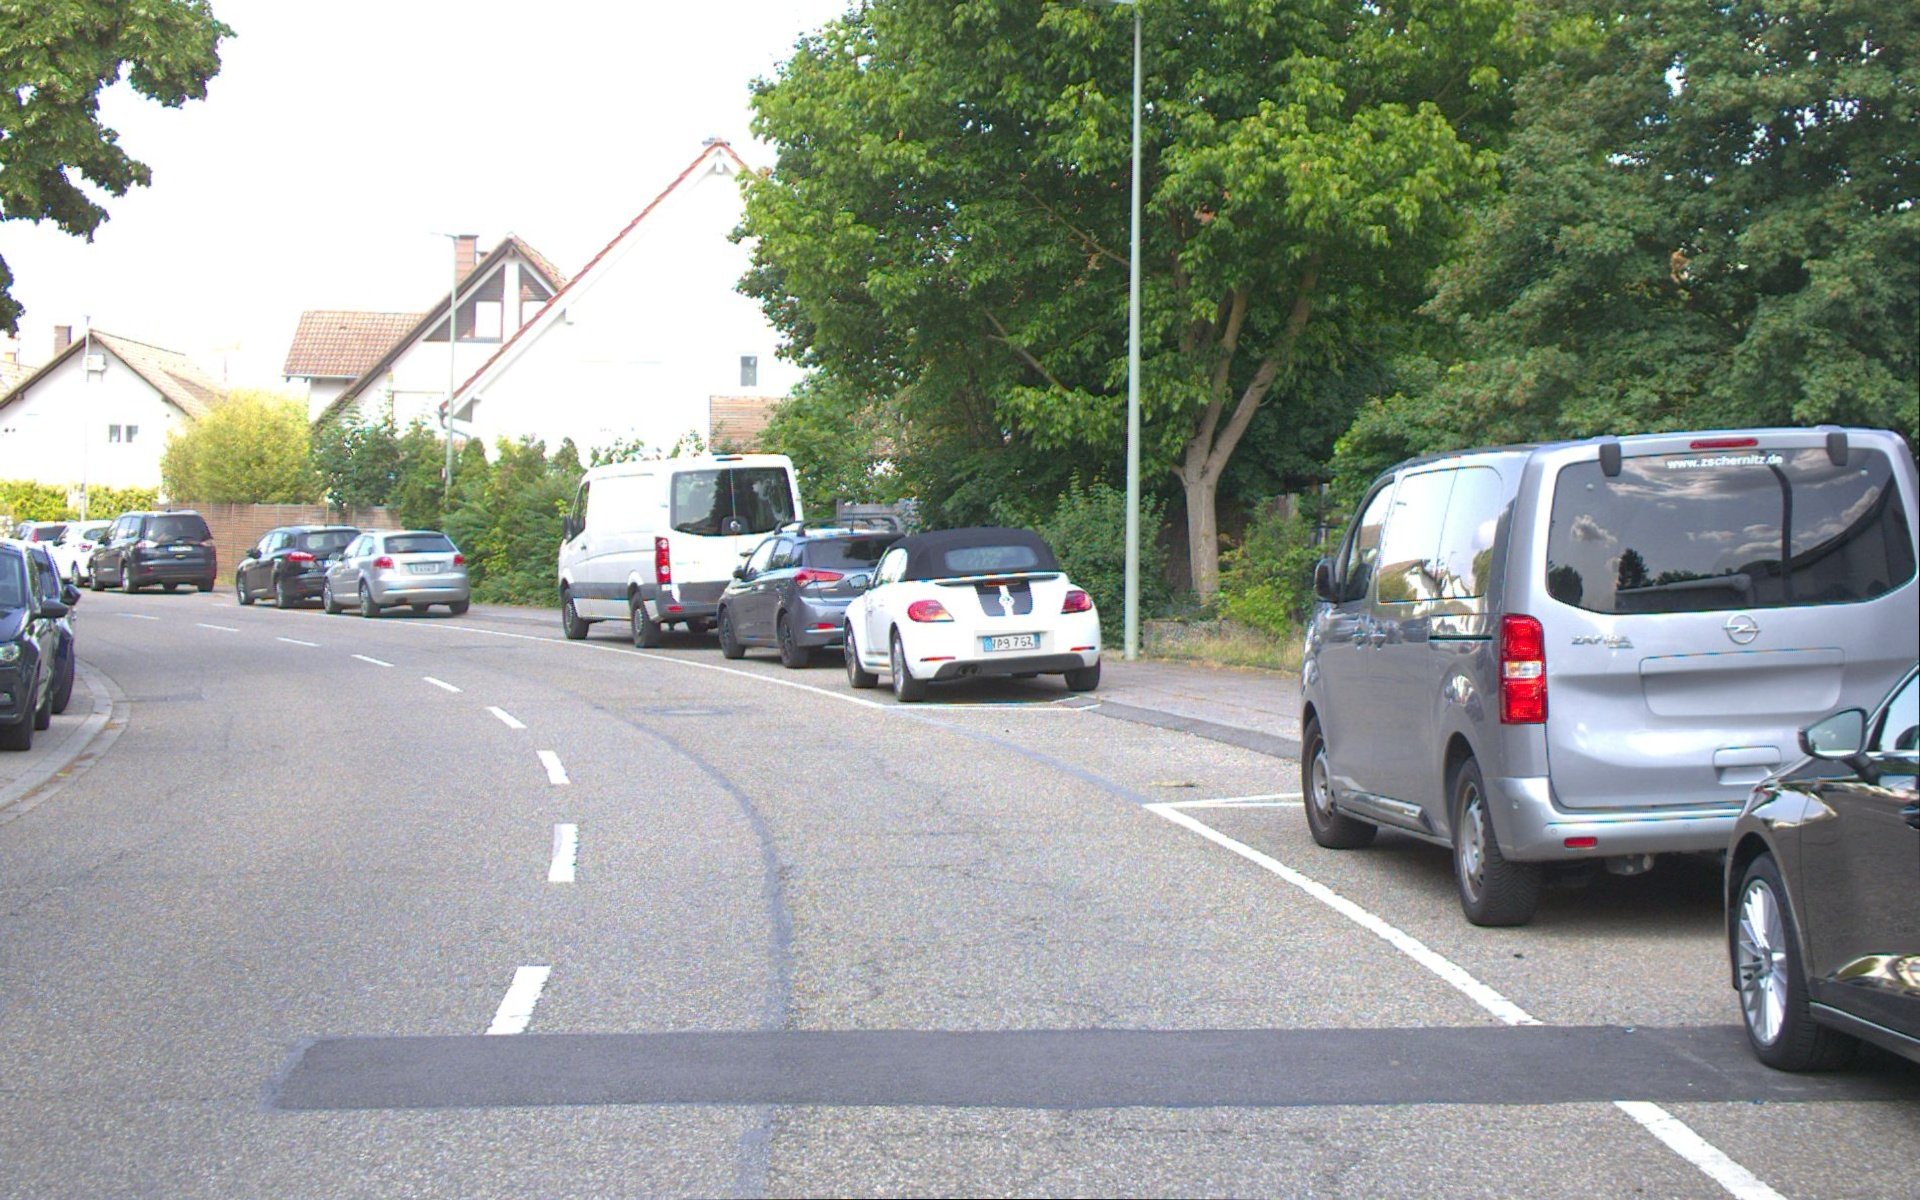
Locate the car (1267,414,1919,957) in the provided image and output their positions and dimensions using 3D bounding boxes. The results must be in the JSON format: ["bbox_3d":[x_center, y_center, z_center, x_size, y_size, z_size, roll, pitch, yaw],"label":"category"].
[{"bbox_3d":[2.667,0.250,14.980,1.842,1.938,4.877,-1,1,-4],"label":"car"}]

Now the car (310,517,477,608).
[{"bbox_3d":[-9.635,-0.653,58.204,1.737,1.452,4.366,0,1,-24],"label":"car"}]

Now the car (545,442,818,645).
[{"bbox_3d":[-3.706,-0.749,44.542,2.117,2.432,5.896,1,1,-19],"label":"car"}]

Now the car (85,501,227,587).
[{"bbox_3d":[-17.268,-1.216,73.699,1.794,1.742,4.584,0,1,-28],"label":"car"}]

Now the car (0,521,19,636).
[{"bbox_3d":[-13.959,-0.375,46.625,1.760,1.484,4.345,2,1,-22],"label":"car"}]

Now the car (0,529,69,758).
[{"bbox_3d":[-7.429,0.223,24.778,1.760,1.484,4.034,2,1,-13],"label":"car"}]

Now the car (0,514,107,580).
[{"bbox_3d":[-22.142,-1.306,83.524,1.794,1.518,3.974,0,1,-28],"label":"car"}]

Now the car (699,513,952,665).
[{"bbox_3d":[-1.561,-0.158,38.249,1.717,1.580,4.125,1,1,-18],"label":"car"}]

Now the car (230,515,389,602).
[{"bbox_3d":[-12.015,-0.778,63.297,1.737,1.504,4.477,1,1,-26],"label":"car"}]

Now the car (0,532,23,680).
[{"bbox_3d":[-10.776,-0.017,35.637,1.836,1.434,4.093,3,1,-13],"label":"car"}]

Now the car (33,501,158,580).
[{"bbox_3d":[-19.950,-1.383,79.249,1.794,1.742,3.974,0,1,-29],"label":"car"}]

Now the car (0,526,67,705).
[{"bbox_3d":[-8.997,0.087,30.978,1.760,1.484,4.572,2,0,-14],"label":"car"}]

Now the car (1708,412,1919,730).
[{"bbox_3d":[7.793,-0.150,23.057,5.344,2.050,1.999,2,1,13],"label":"car"}]

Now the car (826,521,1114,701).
[{"bbox_3d":[0.010,0.049,31.506,1.739,1.507,4.460,1,1,-12],"label":"car"}]
